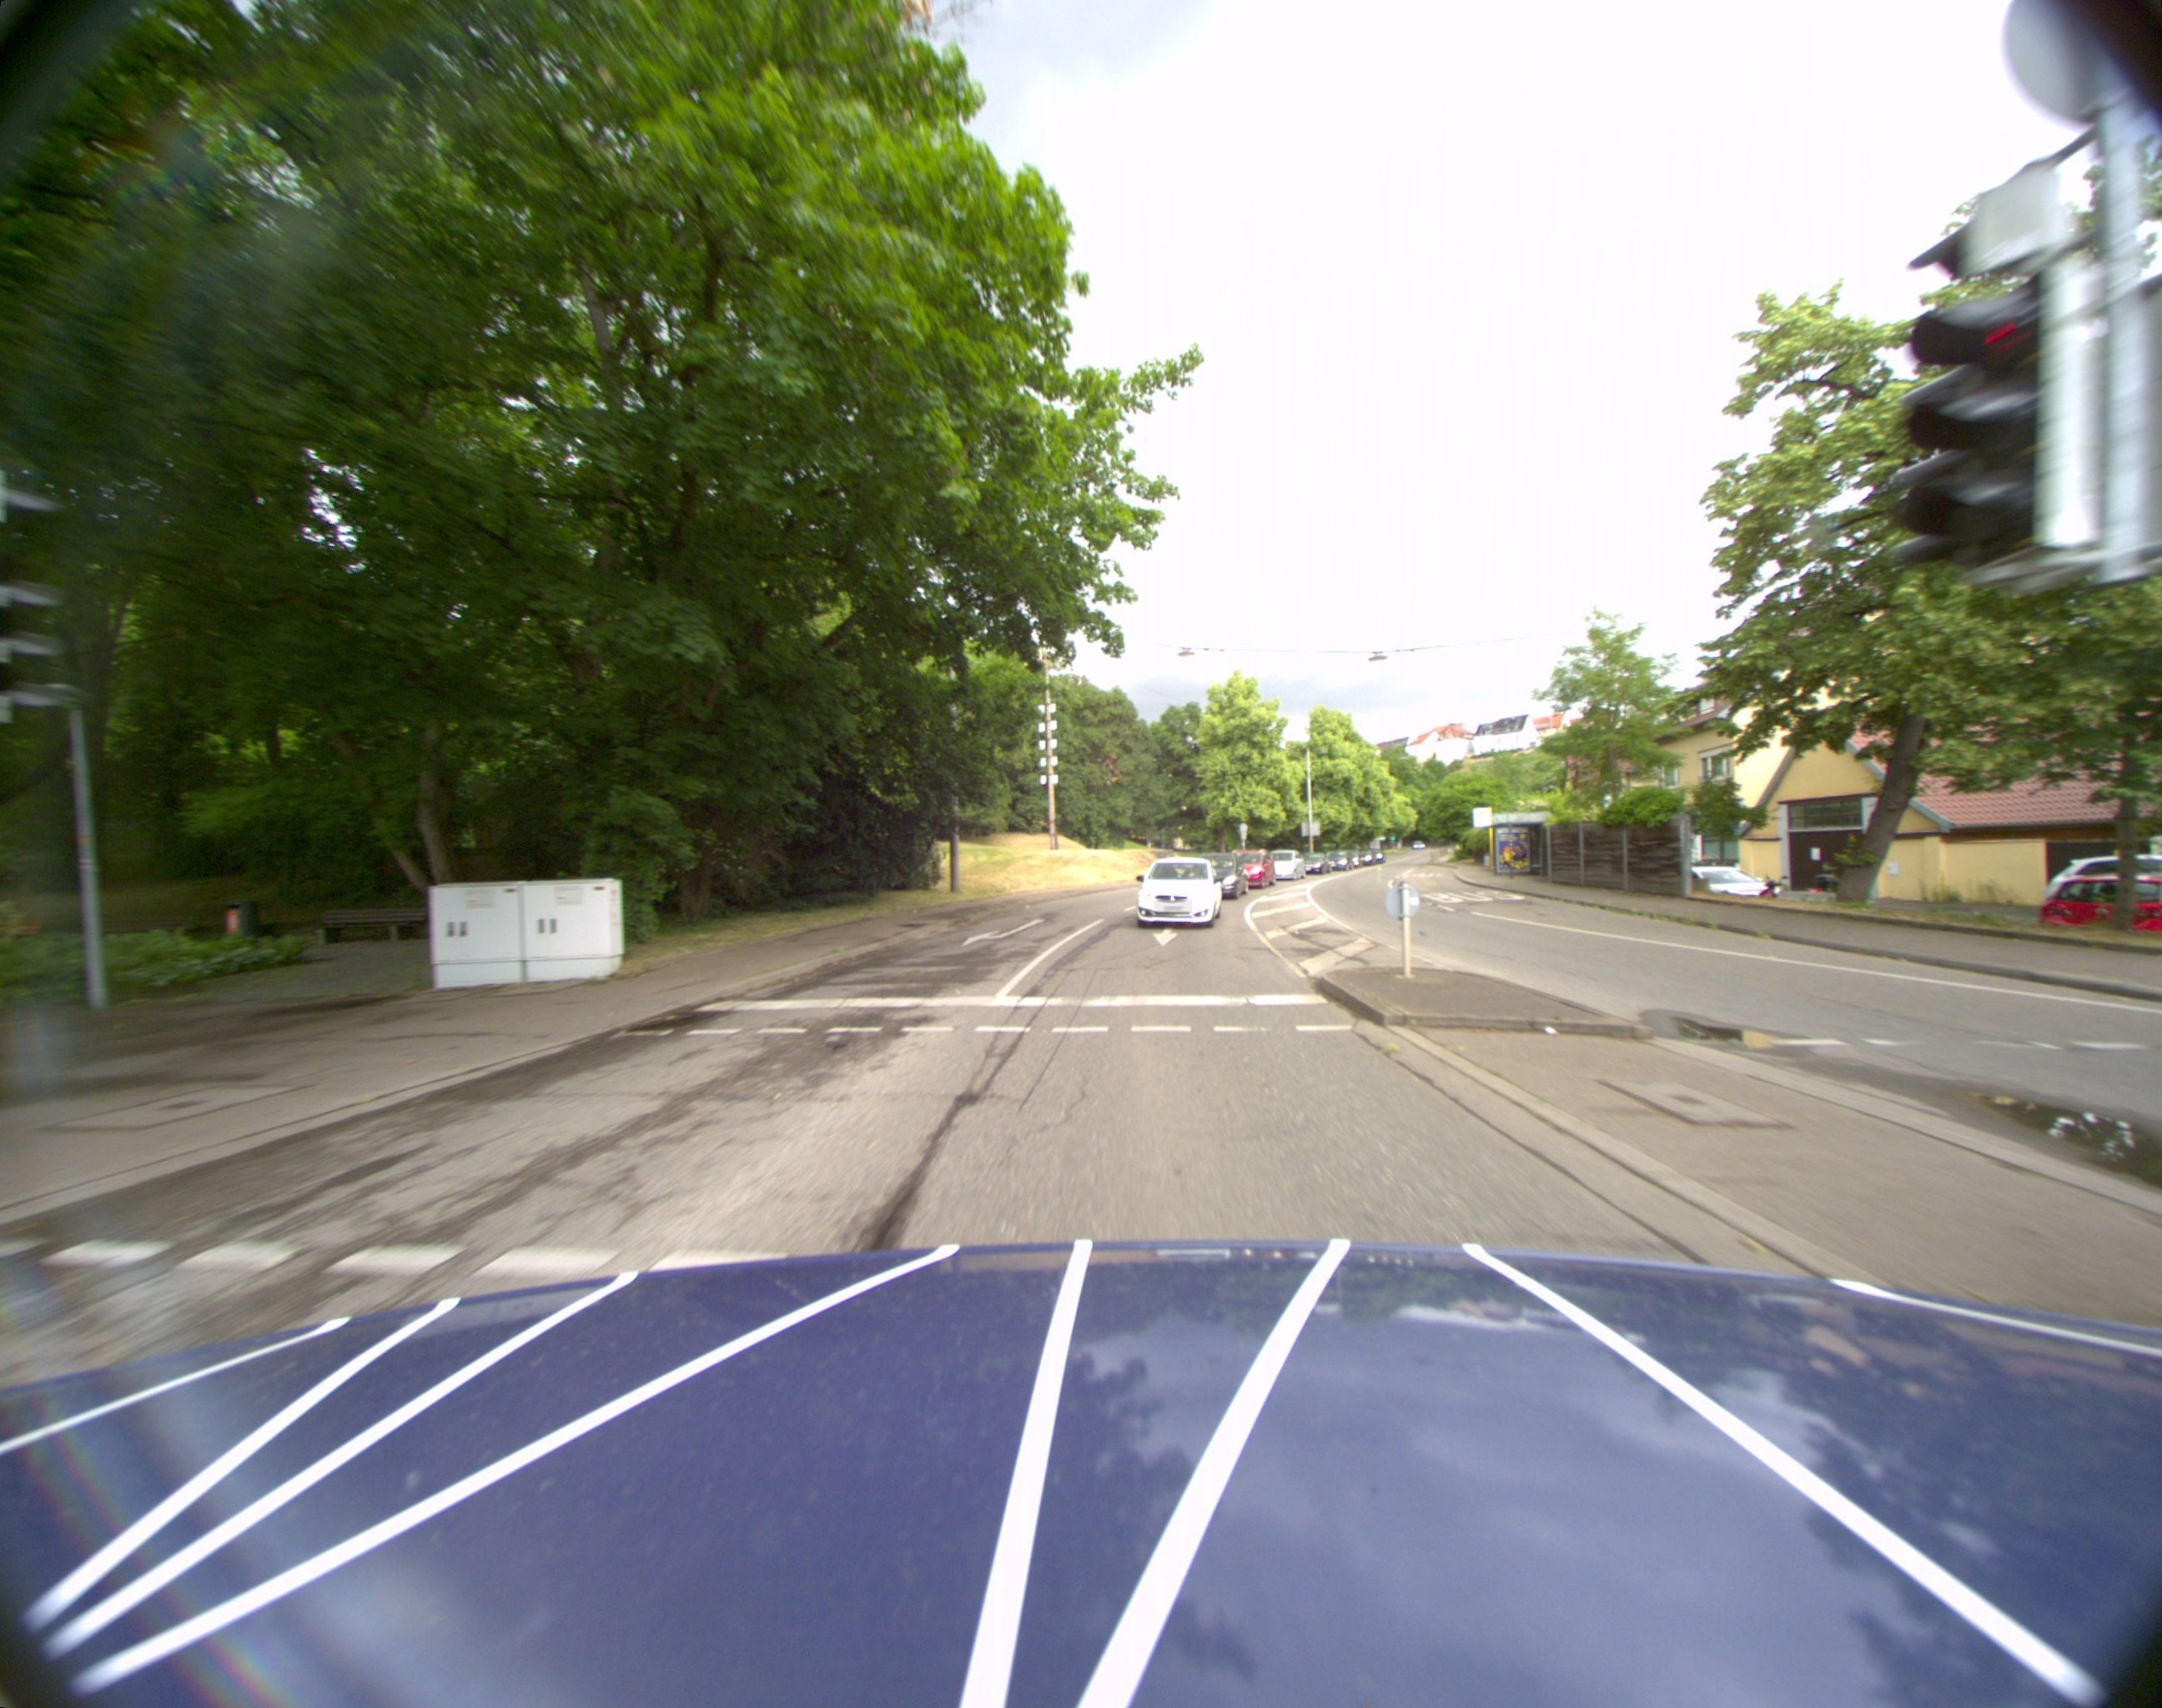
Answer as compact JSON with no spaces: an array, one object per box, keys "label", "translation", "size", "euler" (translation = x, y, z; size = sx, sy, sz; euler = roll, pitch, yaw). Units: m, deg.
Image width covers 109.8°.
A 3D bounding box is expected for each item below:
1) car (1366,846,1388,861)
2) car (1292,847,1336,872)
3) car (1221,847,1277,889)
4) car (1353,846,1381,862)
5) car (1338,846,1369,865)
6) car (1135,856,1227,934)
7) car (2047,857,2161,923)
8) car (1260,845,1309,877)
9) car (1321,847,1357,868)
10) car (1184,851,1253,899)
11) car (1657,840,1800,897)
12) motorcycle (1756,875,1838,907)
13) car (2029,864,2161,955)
[{"label":"car","translation":[27.633,-0.064,70.794],"size":[1.417,1.242,3.301],"euler":[-1,1,30]},{"label":"car","translation":[14.884,0.341,48.423],"size":[1.850,1.449,4.007],"euler":[-1,1,30]},{"label":"car","translation":[7.289,0.548,32.694],"size":[1.672,1.632,4.106],"euler":[-1,1,22]},{"label":"car","translation":[24.462,0.007,64.950],"size":[1.641,1.262,3.632],"euler":[-1,1,30]},{"label":"car","translation":[21.648,0.099,60.254],"size":[1.704,1.438,3.874],"euler":[-1,1,29]},{"label":"car","translation":[2.383,0.842,17.334],"size":[1.626,1.499,4.004],"euler":[-2,0,14]},{"label":"car","translation":[25.884,0.842,17.912],"size":[1.654,1.483,3.477],"euler":[-2,1,-12]},{"label":"car","translation":[10.890,0.360,40.483],"size":[1.780,1.560,4.006],"euler":[-1,1,26]},{"label":"car","translation":[18.498,0.232,54.344],"size":[1.693,1.403,3.989],"euler":[-1,1,30]},{"label":"car","translation":[4.898,0.684,26.659],"size":[1.728,1.512,4.005],"euler":[-1,1,19]},{"label":"car","translation":[20.312,0.407,24.070],"size":[1.898,1.618,4.004],"euler":[-2,0,15]},{"label":"motorcycle","translation":[19.262,1.004,20.455],"size":[1.581,0.819,0.419],"euler":[-1,1,17]},{"label":"car","translation":[19.029,0.925,13.580],"size":[3.633,1.345,1.597],"euler":[-2,1,-22]}]
